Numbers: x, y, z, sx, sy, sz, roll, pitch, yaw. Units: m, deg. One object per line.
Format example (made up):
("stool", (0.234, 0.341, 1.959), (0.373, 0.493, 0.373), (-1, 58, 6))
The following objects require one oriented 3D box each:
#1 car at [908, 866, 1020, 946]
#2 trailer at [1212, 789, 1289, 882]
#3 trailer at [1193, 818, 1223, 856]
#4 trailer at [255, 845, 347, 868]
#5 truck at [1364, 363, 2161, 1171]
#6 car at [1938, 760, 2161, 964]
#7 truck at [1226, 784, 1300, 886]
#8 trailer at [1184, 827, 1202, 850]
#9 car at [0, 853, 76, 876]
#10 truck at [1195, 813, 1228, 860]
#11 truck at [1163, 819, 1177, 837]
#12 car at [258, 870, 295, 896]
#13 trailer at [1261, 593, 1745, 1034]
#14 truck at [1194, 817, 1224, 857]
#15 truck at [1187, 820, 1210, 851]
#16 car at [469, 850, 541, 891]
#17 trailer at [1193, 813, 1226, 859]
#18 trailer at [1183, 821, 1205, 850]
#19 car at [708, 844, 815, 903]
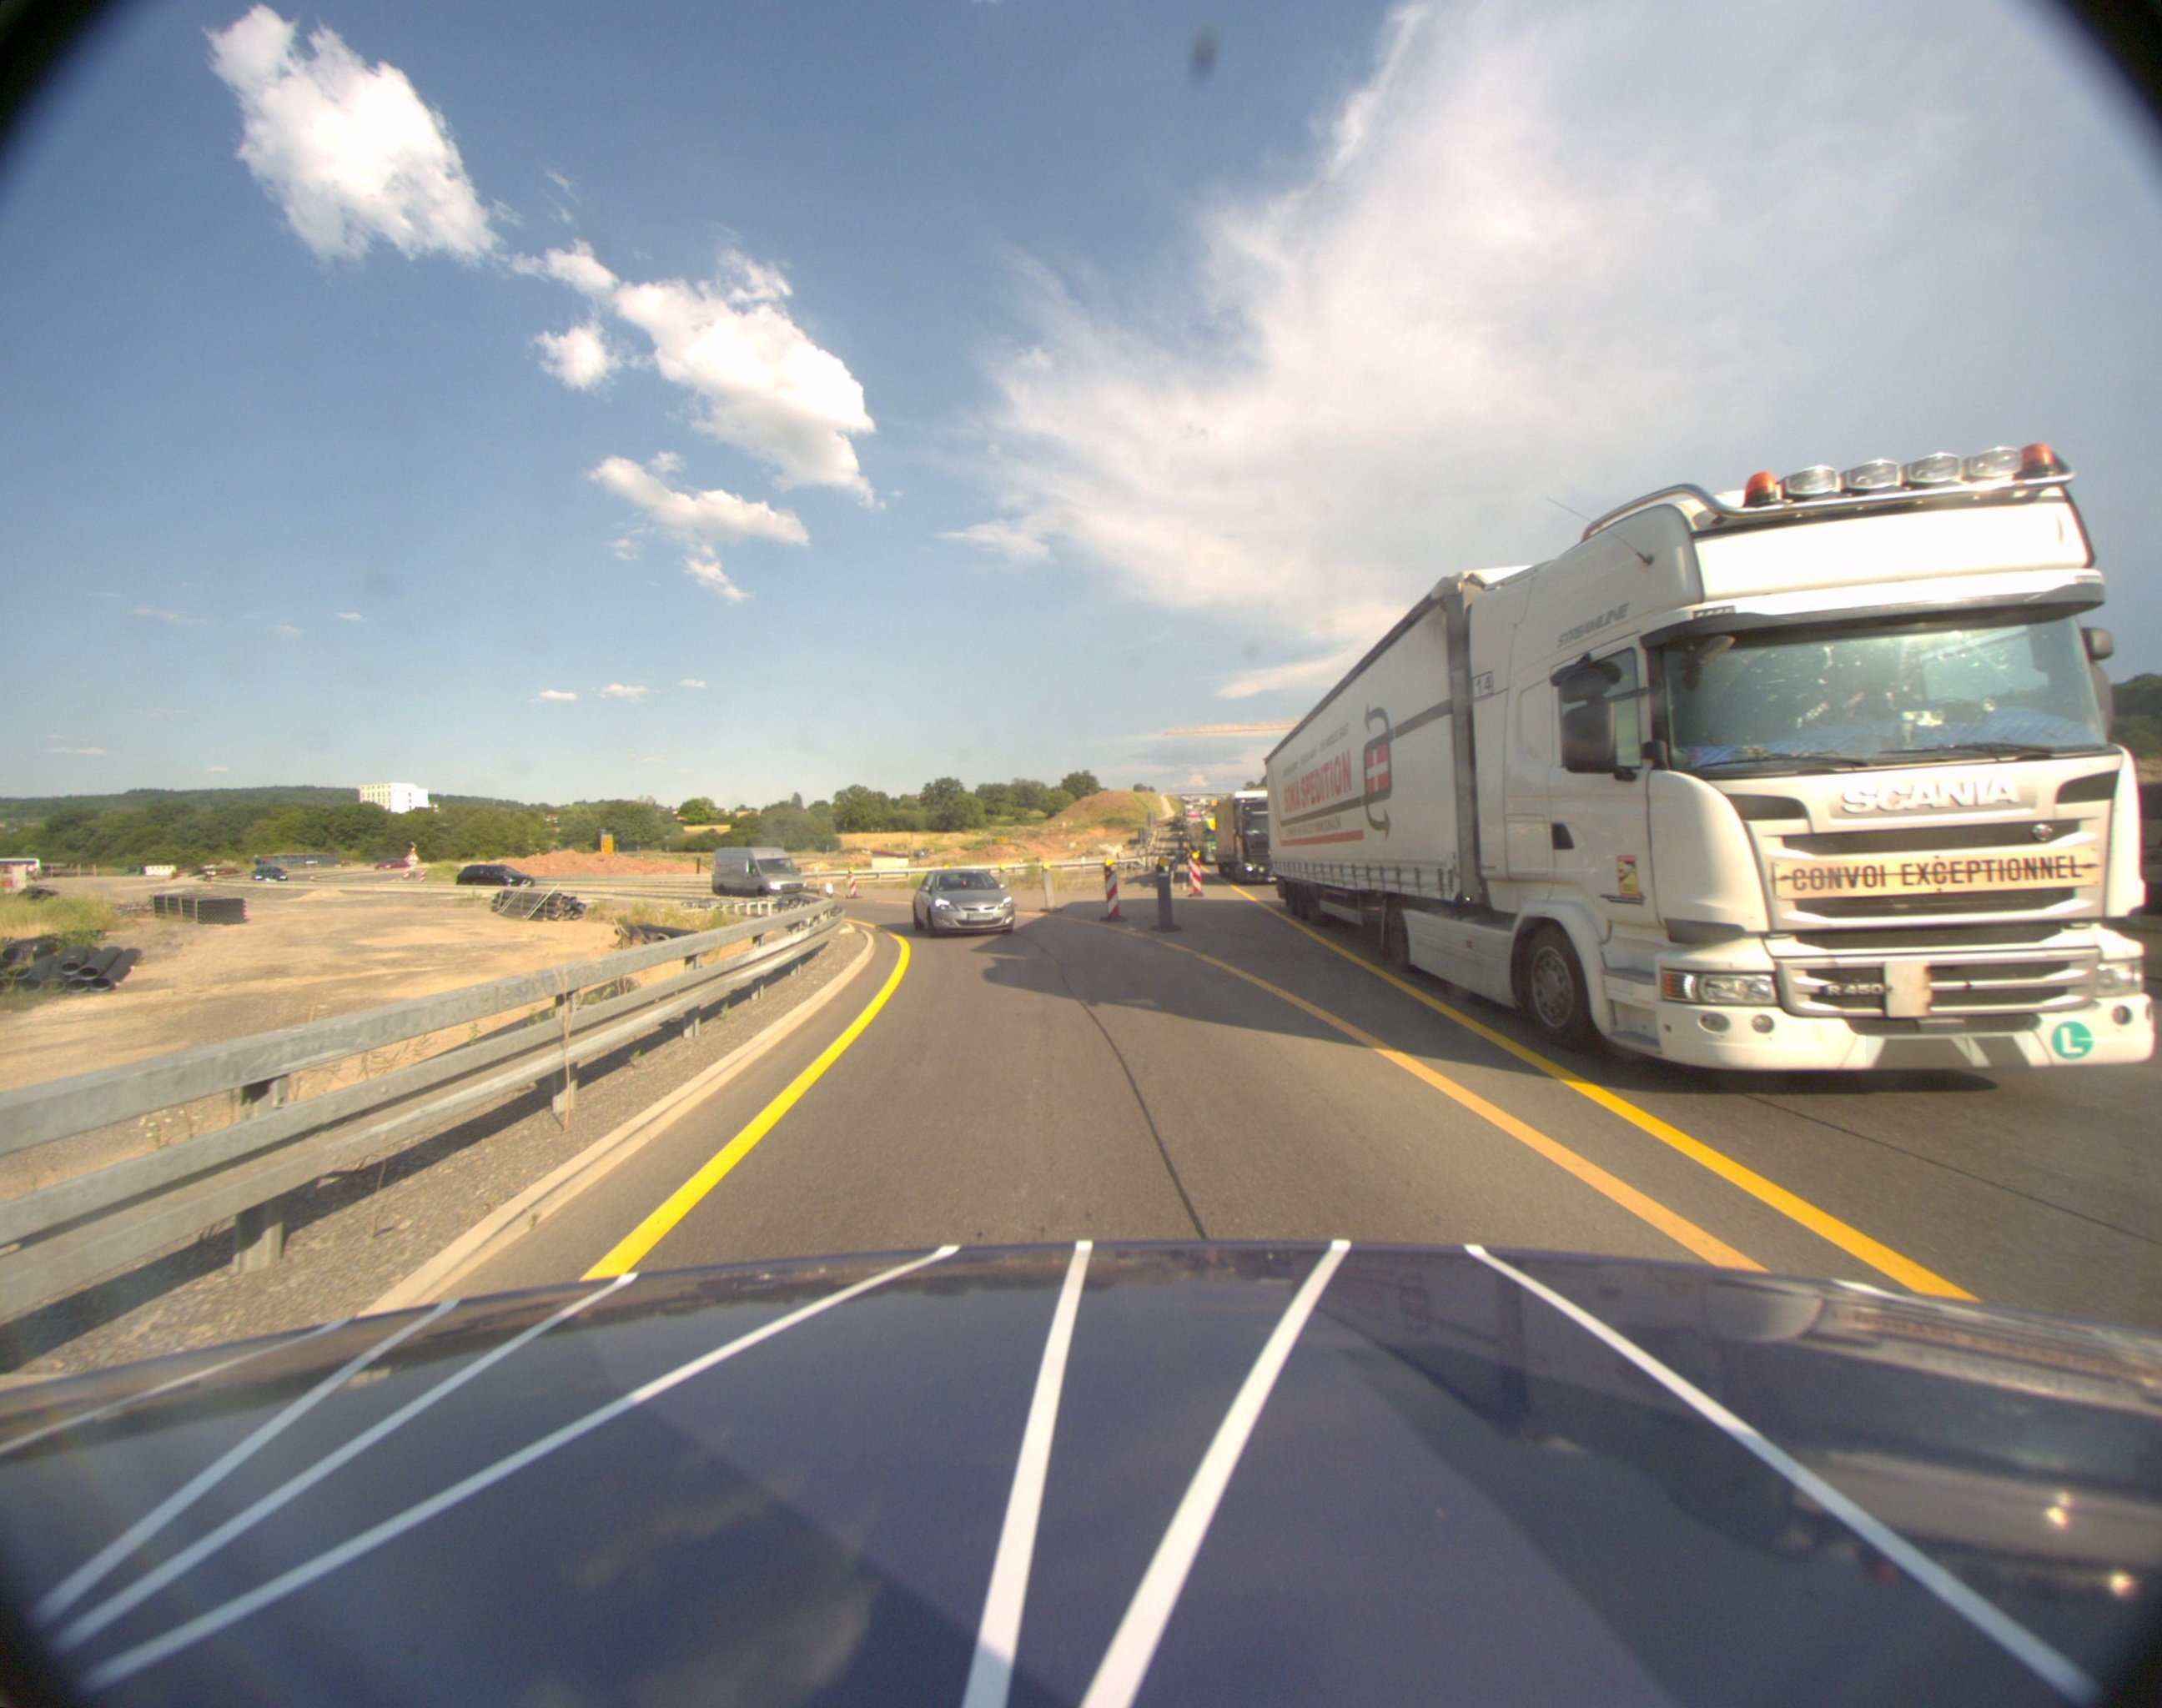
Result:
("car", (-2.793, 1.086, 17.299), (1.750, 1.475, 4.246), (-3, 0, -19))
("trailer", (8.660, -0.961, 40.408), (2.485, 4.038, 13.635), (-1, 1, 6))
("trailer", (15.442, -2.032, 92.951), (3.109, 4.290, 14.257), (0, 1, 8))
("trailer", (-88.338, 0.200, 86.220), (3.012, 2.400, 7.225), (-1, 1, -2))
("truck", (4.584, -0.434, 6.727), (2.485, 3.856, 6.013), (-1, 1, 7))
("car", (11.597, 0.084, 7.191), (1.998, 2.002, 4.494), (0, 1, 3))
("truck", (7.910, -0.814, 33.658), (2.485, 4.037, 6.013), (-1, 1, 7))
("trailer", (21.556, -3.009, 147.013), (3.109, 4.290, 14.257), (0, 1, 8))
("car", (-102.904, 1.021, 74.133), (2.481, 2.067, 5.326), (1, 1, 19))
("truck", (11.419, -1.559, 66.775), (2.485, 3.879, 6.013), (-1, 1, 7))
("truck", (21.651, -6.359, 184.034), (3.109, 4.290, 6.899), (0, 1, 8))
("car", (-62.480, 2.251, 58.994), (4.114, 1.776, 1.641), (1, 2, 39))
("trailer", (5.354, -0.462, 13.567), (2.485, 3.856, 13.635), (-1, 1, 7))
("truck", (14.515, -1.912, 86.300), (3.109, 4.290, 6.899), (0, 1, 8))
("truck", (16.883, -2.692, 109.498), (3.109, 4.290, 6.899), (0, 1, 8))
("car", (-35.507, 0.959, 46.826), (3.989, 2.390, 1.880), (1, 2, 26))
("trailer", (12.373, -1.739, 73.971), (2.485, 3.936, 13.980), (-1, 1, 7))
("trailer", (17.580, -2.915, 118.710), (3.109, 4.290, 14.257), (0, 1, 8))
("car", (-14.908, 0.807, 35.289), (5.780, 2.487, 1.921), (1, 2, 38))
